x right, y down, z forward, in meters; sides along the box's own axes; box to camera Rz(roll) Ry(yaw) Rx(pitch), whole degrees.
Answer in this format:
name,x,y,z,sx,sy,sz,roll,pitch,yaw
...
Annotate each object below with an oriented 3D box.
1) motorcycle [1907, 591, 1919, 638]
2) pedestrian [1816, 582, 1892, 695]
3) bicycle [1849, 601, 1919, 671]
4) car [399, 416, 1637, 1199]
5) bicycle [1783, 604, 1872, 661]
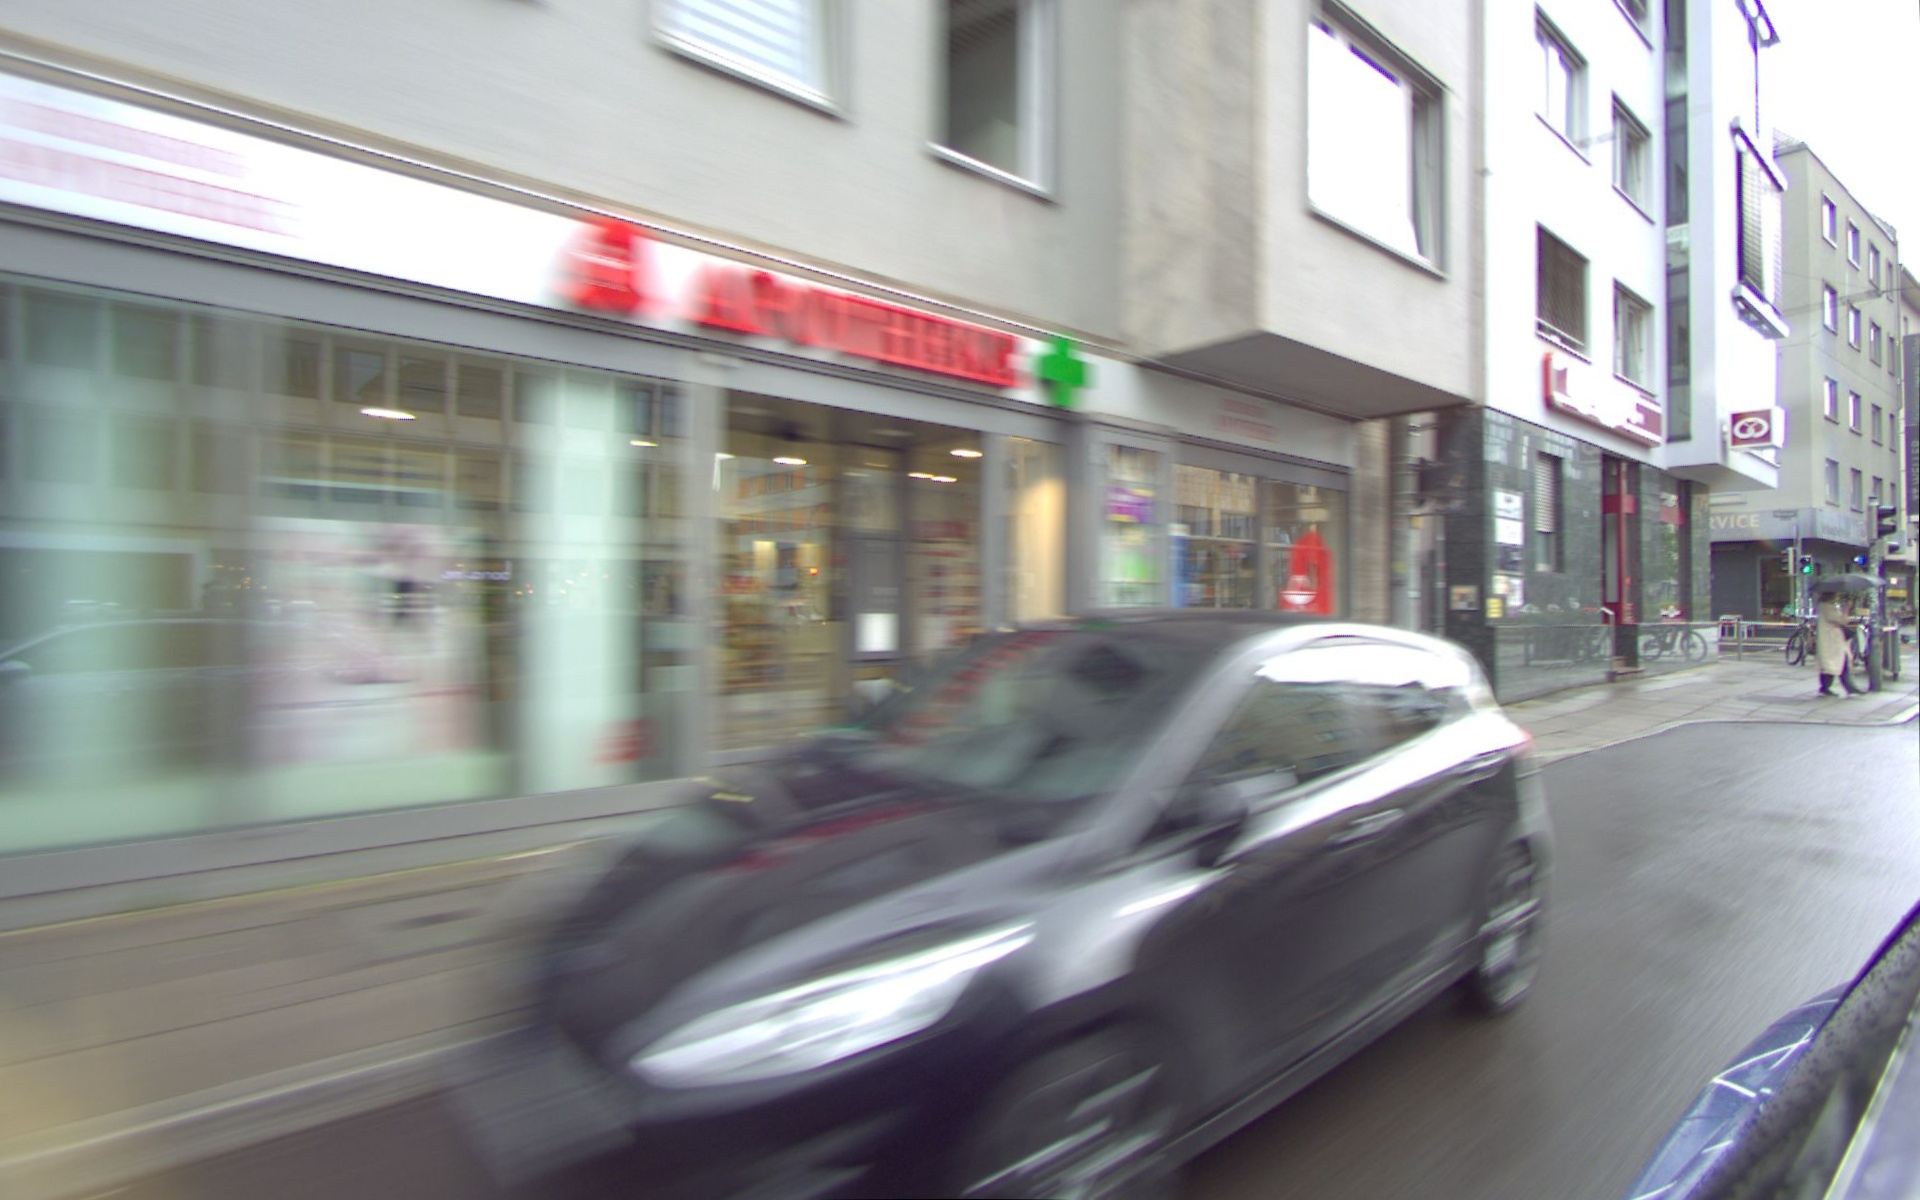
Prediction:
name,x,y,z,sx,sy,sz,roll,pitch,yaw
motorcycle,31.062,0.456,32.216,1.115,1.479,0.681,0,0,13
pedestrian,13.093,0.548,14.842,0.655,1.602,0.772,0,0,27
bicycle,17.980,0.669,19.663,0.493,1.275,1.940,-1,-1,24
car,0.576,0.505,3.594,4.196,1.614,1.997,-1,1,-41
bicycle,18.589,0.669,21.745,0.569,1.172,1.949,-1,0,12
